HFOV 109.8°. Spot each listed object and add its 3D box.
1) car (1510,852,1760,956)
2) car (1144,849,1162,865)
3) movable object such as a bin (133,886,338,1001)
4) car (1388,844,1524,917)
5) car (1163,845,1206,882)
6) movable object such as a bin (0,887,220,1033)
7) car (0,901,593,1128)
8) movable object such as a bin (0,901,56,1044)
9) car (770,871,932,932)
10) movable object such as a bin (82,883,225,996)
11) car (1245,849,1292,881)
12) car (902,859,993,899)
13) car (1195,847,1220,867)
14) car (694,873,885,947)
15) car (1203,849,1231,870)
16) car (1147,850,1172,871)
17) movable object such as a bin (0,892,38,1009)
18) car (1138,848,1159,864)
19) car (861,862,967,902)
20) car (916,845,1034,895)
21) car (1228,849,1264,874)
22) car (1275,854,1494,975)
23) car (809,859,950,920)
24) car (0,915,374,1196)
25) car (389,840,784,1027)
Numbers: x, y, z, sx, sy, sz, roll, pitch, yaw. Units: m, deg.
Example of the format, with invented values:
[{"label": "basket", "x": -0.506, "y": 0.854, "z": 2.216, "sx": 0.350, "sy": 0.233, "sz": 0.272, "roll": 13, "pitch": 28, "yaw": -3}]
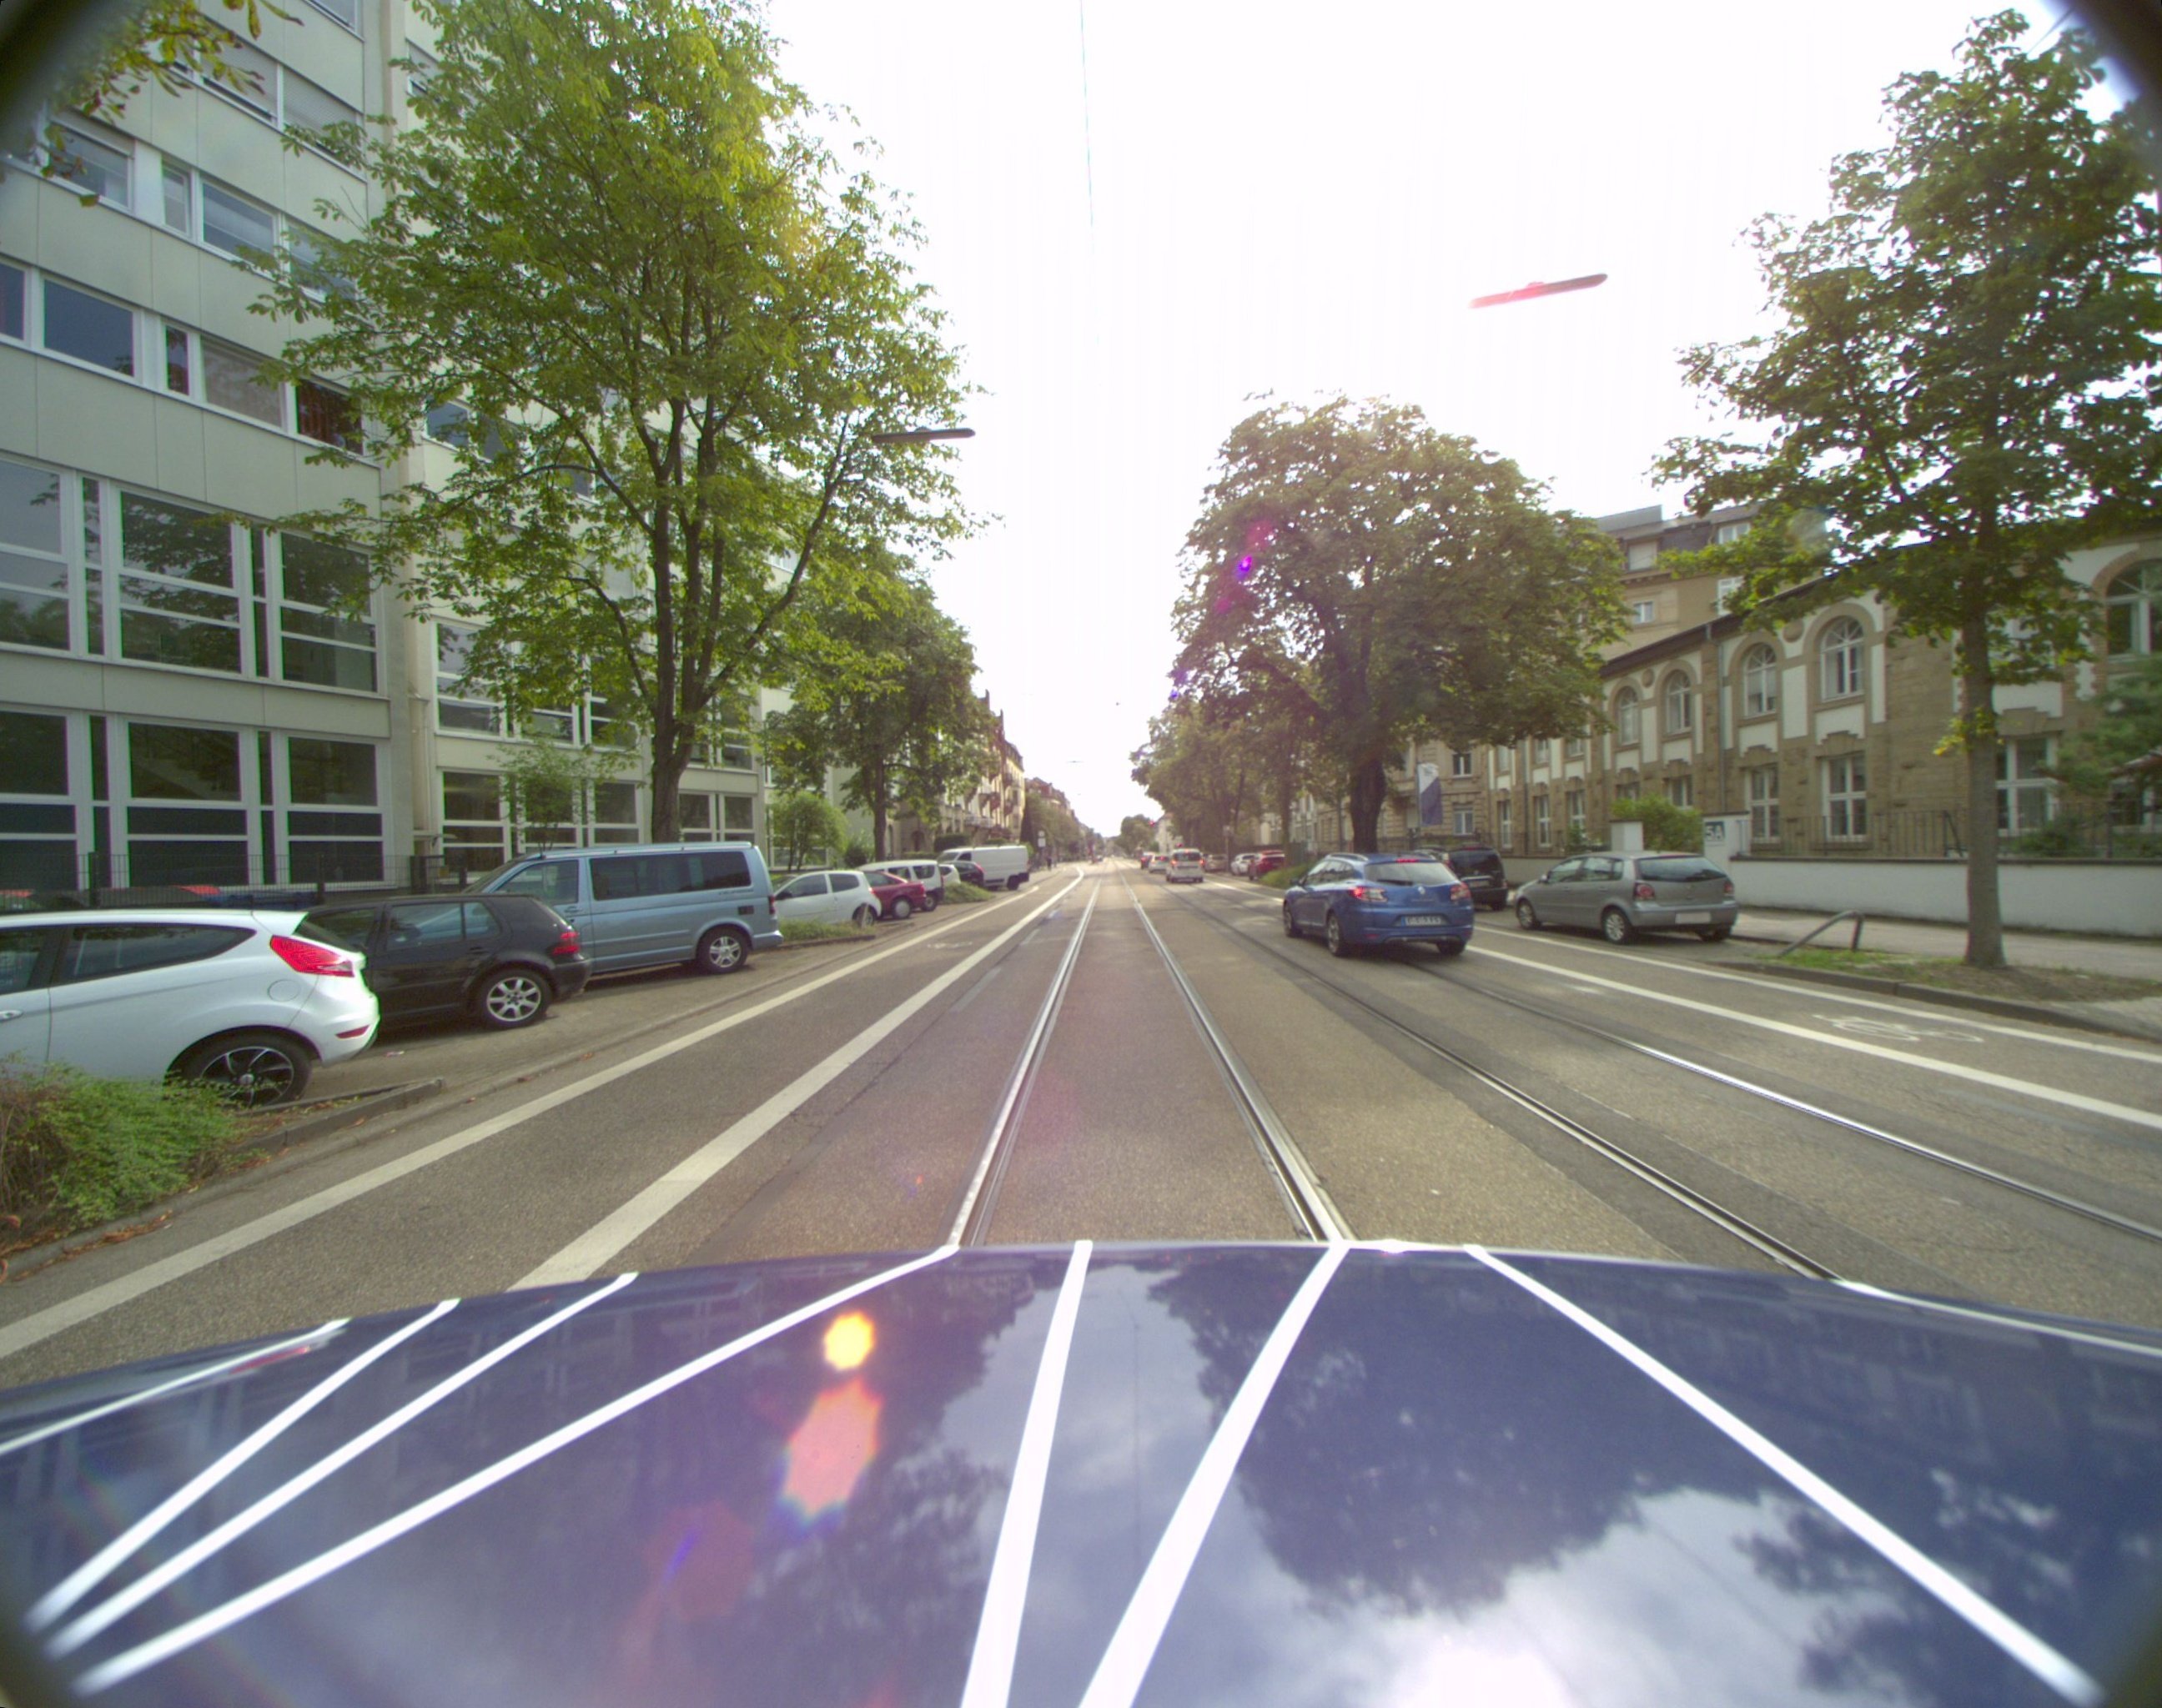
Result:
[{"label": "car", "x": 9.019, "y": 0.720, "z": 12.776, "sx": 1.632, "sy": 1.456, "sz": 3.574, "roll": -2, "pitch": 0, "yaw": 1}, {"label": "car", "x": 8.610, "y": 0.340, "z": 91.632, "sx": 1.799, "sy": 1.813, "sz": 4.678, "roll": -2, "pitch": 0, "yaw": 1}, {"label": "movable object such as a bin", "x": -12.065, "y": 1.242, "z": 10.918, "sx": 1.334, "sy": 1.450, "sz": 1.400, "roll": -2, "pitch": 1, "yaw": 6}, {"label": "car", "x": 9.391, "y": 0.599, "z": 19.358, "sx": 1.658, "sy": 1.624, "sz": 3.725, "roll": -2, "pitch": 0, "yaw": 1}, {"label": "car", "x": 5.575, "y": 0.475, "z": 41.344, "sx": 1.736, "sy": 1.873, "sz": 4.378, "roll": -2, "pitch": 0, "yaw": 1}, {"label": "movable object such as a bin", "x": -12.077, "y": 1.247, "z": 9.363, "sx": 1.334, "sy": 1.586, "sz": 1.354, "roll": -2, "pitch": 1, "yaw": 6}, {"label": "car", "x": -7.293, "y": 1.294, "z": 7.375, "sx": 3.980, "sy": 1.379, "sz": 1.810, "roll": -3, "pitch": -1, "yaw": -44}, {"label": "movable object such as a bin", "x": -12.240, "y": 1.304, "z": 7.893, "sx": 1.334, "sy": 1.493, "sz": 1.354, "roll": -2, "pitch": 1, "yaw": 6}, {"label": "car", "x": -6.220, "y": 1.227, "z": 20.747, "sx": 3.777, "sy": 1.331, "sz": 1.809, "roll": -3, "pitch": 1, "yaw": -39}, {"label": "movable object such as a bin", "x": -14.331, "y": 1.269, "z": 11.751, "sx": 1.177, "sy": 1.559, "sz": 1.177, "roll": -2, "pitch": 1, "yaw": 30}, {"label": "car", "x": 10.321, "y": 0.594, "z": 42.084, "sx": 1.658, "sy": 1.624, "sz": 3.906, "roll": -2, "pitch": 0, "yaw": 1}, {"label": "car", "x": -6.017, "y": 1.083, "z": 34.164, "sx": 3.649, "sy": 1.580, "sz": 1.764, "roll": -2, "pitch": 1, "yaw": -24}, {"label": "car", "x": 11.366, "y": 0.263, "z": 68.684, "sx": 1.658, "sy": 1.624, "sz": 3.906, "roll": -2, "pitch": 0, "yaw": 1}, {"label": "car", "x": -6.607, "y": 1.194, "z": 17.453, "sx": 3.652, "sy": 1.322, "sz": 1.763, "roll": -3, "pitch": 1, "yaw": -44}, {"label": "car", "x": 10.962, "y": 0.428, "z": 61.379, "sx": 1.658, "sy": 1.624, "sz": 3.906, "roll": -2, "pitch": 0, "yaw": 1}, {"label": "car", "x": 6.313, "y": 0.509, "z": 61.279, "sx": 1.736, "sy": 1.603, "sz": 4.334, "roll": -1, "pitch": 0, "yaw": 3}, {"label": "movable object such as a bin", "x": -15.238, "y": 1.326, "z": 10.273, "sx": 1.177, "sy": 1.559, "sz": 1.177, "roll": -2, "pitch": 1, "yaw": 30}, {"label": "car", "x": 7.085, "y": 0.230, "z": 79.975, "sx": 1.852, "sy": 1.603, "sz": 4.334, "roll": -2, "pitch": 0, "yaw": 2}, {"label": "car", "x": -6.565, "y": 1.062, "z": 30.038, "sx": 3.652, "sy": 1.322, "sz": 1.763, "roll": -3, "pitch": 1, "yaw": -44}, {"label": "car", "x": -5.212, "y": 0.728, "z": 37.833, "sx": 5.449, "sy": 2.163, "sz": 2.142, "roll": -3, "pitch": 1, "yaw": -39}, {"label": "car", "x": 10.989, "y": 0.469, "z": 50.835, "sx": 1.658, "sy": 1.592, "sz": 3.906, "roll": -2, "pitch": 0, "yaw": 1}, {"label": "car", "x": 4.398, "y": 0.764, "z": 11.795, "sx": 1.736, "sy": 1.488, "sz": 4.378, "roll": -1, "pitch": 0, "yaw": 2}, {"label": "car", "x": -6.219, "y": 1.049, "z": 23.665, "sx": 3.777, "sy": 1.609, "sz": 1.809, "roll": -3, "pitch": 1, "yaw": -39}, {"label": "car", "x": -6.914, "y": 1.246, "z": 4.531, "sx": 3.869, "sy": 1.385, "sz": 1.629, "roll": -2, "pitch": 0, "yaw": -44}, {"label": "car", "x": -6.831, "y": 0.901, "z": 10.815, "sx": 4.354, "sy": 2.052, "sz": 1.994, "roll": -2, "pitch": 1, "yaw": -44}]
